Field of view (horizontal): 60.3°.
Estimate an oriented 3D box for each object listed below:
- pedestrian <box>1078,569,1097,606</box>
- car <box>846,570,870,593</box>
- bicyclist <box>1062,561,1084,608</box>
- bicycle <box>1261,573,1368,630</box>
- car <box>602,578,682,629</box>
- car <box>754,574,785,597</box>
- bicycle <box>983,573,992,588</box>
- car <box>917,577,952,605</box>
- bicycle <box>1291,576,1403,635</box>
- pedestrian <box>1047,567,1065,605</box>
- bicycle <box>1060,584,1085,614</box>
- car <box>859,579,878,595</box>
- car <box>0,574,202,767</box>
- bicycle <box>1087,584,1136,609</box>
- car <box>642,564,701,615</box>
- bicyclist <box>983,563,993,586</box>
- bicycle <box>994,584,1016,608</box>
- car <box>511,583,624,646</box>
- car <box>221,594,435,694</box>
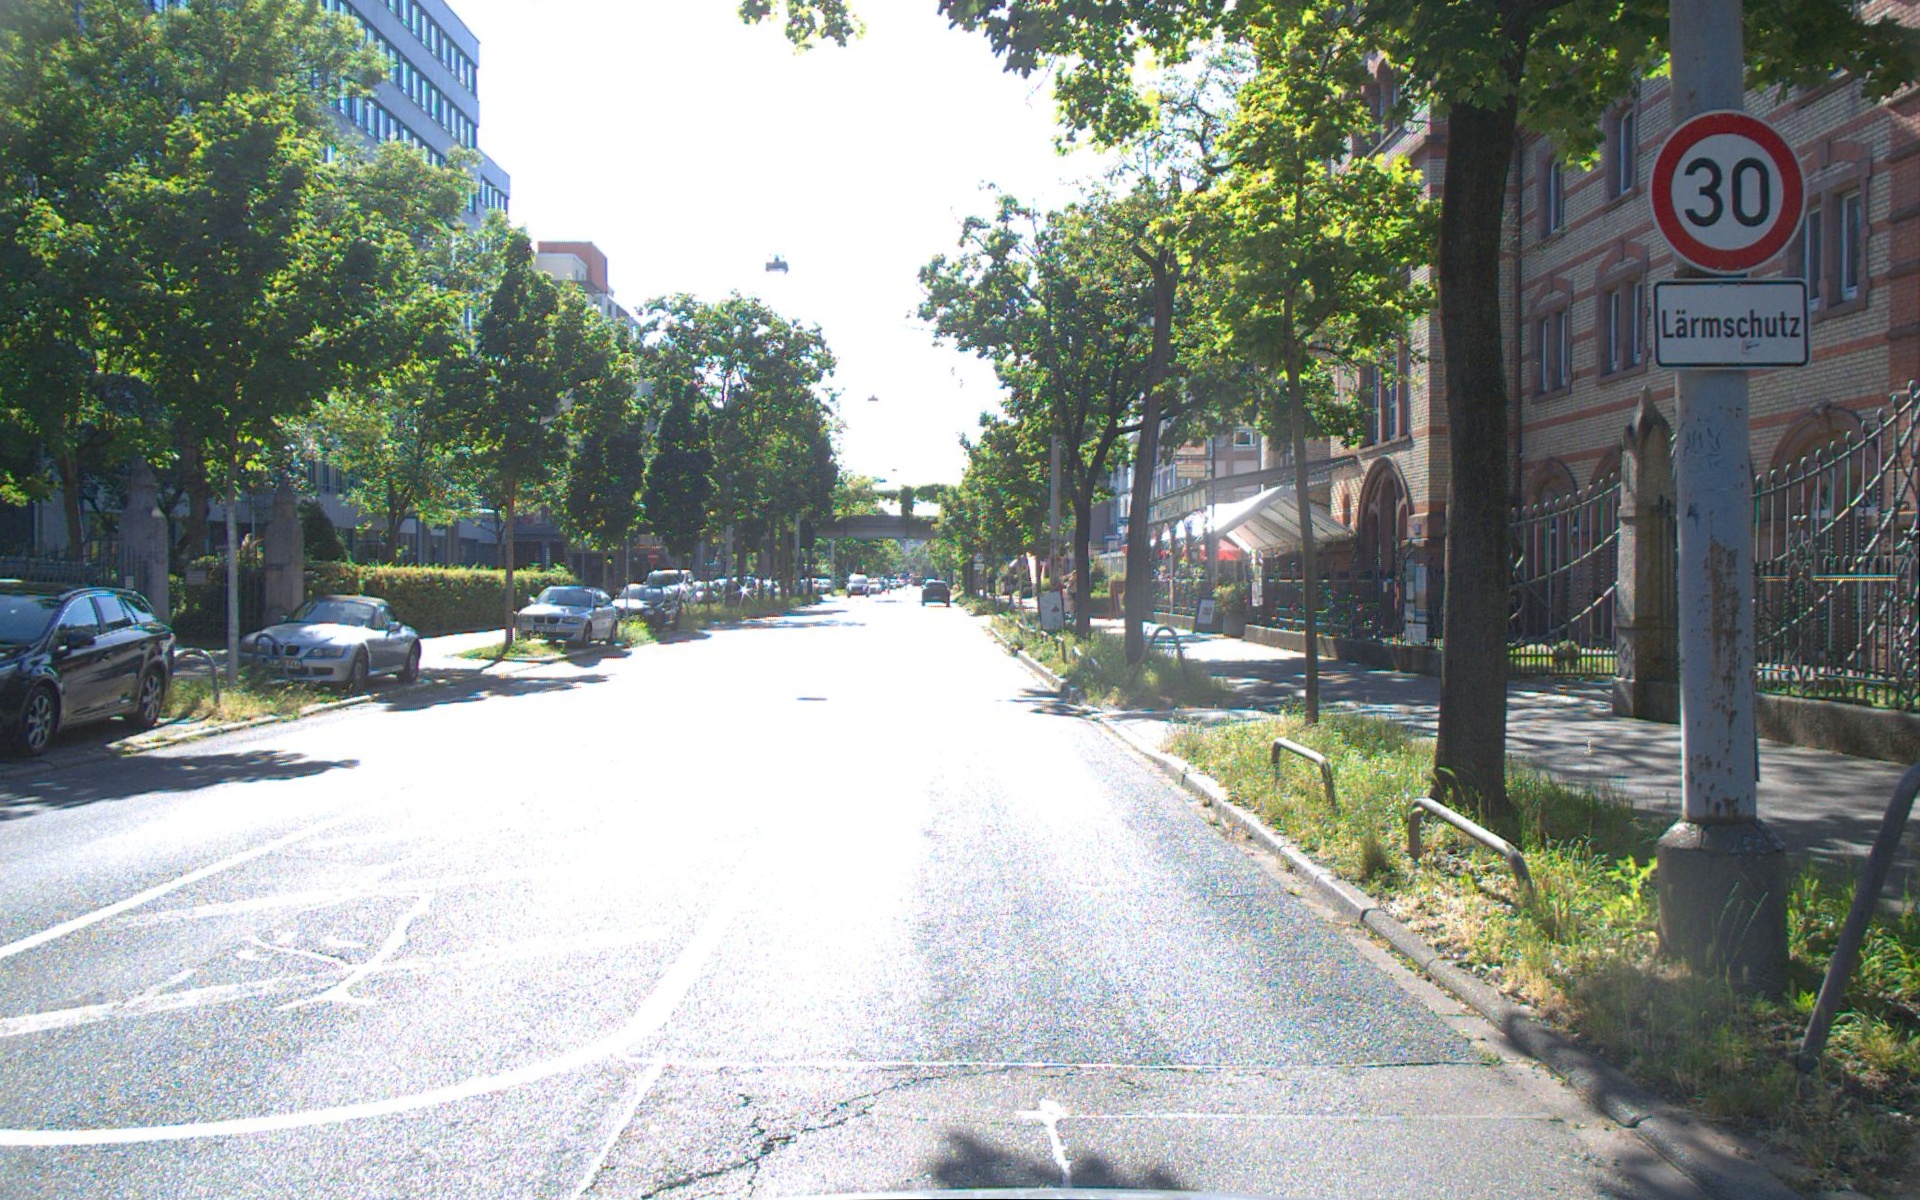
[{"bbox_3d":[5.607,-0.550,72.948,0.641,1.632,0.602,-3,0,-7],"label":"pedestrian"},{"bbox_3d":[-8.388,-1.527,136.144,1.818,1.857,4.608,-2,1,-3],"label":"car"},{"bbox_3d":[3.968,-0.545,58.048,0.686,1.627,0.954,0,0,-2],"label":"bicyclist"},{"bbox_3d":[7.597,0.036,35.486,2.154,1.199,0.686,0,0,-8],"label":"bicycle"},{"bbox_3d":[-9.866,0.084,51.587,1.677,1.484,4.072,1,1,0],"label":"car"},{"bbox_3d":[-13.520,-1.024,117.508,1.818,1.549,4.317,1,1,-2],"label":"car"},{"bbox_3d":[2.072,-1.454,123.685,0.577,1.045,1.859,0,0,-2],"label":"bicycle"},{"bbox_3d":[-1.571,-0.574,100.676,1.945,1.628,4.138,1,1,-3],"label":"car"},{"bbox_3d":[8.016,0.111,34.291,2.154,1.199,0.686,0,0,-8],"label":"bicycle"},{"bbox_3d":[4.209,-0.596,72.557,0.641,1.632,0.602,-3,0,-7],"label":"pedestrian"},{"bbox_3d":[3.946,-0.033,58.141,0.671,1.045,2.095,0,0,-2],"label":"bicycle"},{"bbox_3d":[-9.400,-1.358,170.167,1.818,1.595,4.714,-1,1,-2],"label":"car"},{"bbox_3d":[-9.195,0.563,16.100,1.820,1.520,4.700,3,1,-6],"label":"car"},{"bbox_3d":[6.869,-0.175,75.208,2.150,1.045,0.687,-1,3,0],"label":"bicycle"},{"bbox_3d":[-12.692,-0.472,73.070,1.942,2.112,5.193,-2,1,-4],"label":"car"},{"bbox_3d":[2.072,-1.912,123.560,0.654,1.725,0.889,1,0,-2],"label":"bicyclist"},{"bbox_3d":[2.114,-0.177,77.144,0.578,1.084,2.024,0,1,15],"label":"bicycle"},{"bbox_3d":[-9.488,0.303,40.271,1.653,1.407,4.192,1,1,1],"label":"car"},{"bbox_3d":[-9.165,0.587,24.336,1.644,1.277,4.014,1,1,-1],"label":"car"}]
